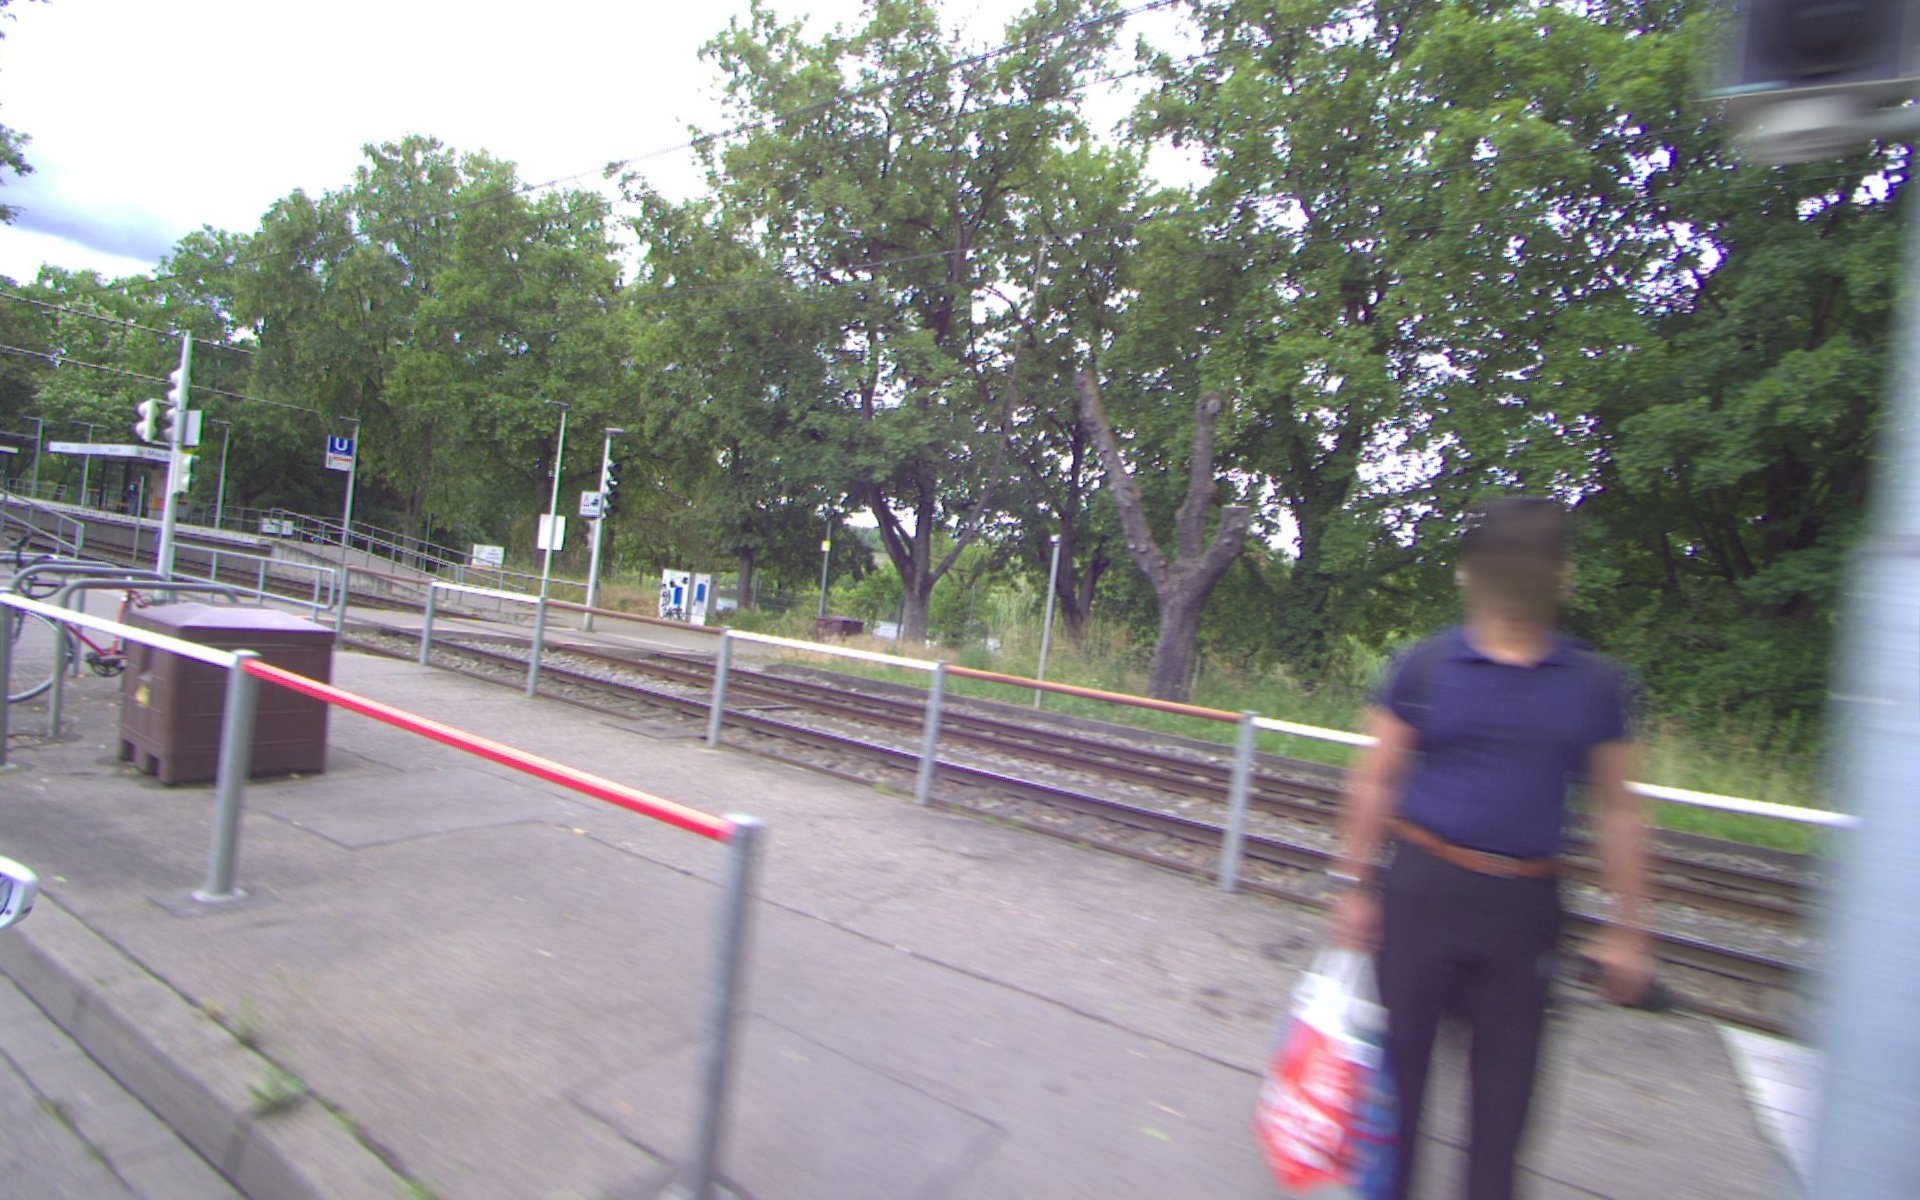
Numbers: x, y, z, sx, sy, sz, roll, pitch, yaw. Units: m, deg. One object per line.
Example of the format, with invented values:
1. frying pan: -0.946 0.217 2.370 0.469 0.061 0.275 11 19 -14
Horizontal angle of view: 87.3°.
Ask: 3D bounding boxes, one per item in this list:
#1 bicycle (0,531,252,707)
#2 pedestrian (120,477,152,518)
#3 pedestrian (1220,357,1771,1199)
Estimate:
1. bicycle: -6.063 0.124 7.039 0.592 1.104 1.674 7 2 31
2. pedestrian: -33.319 -4.139 40.667 0.713 1.528 0.718 6 -2 38
3. pedestrian: 1.231 0.440 2.321 0.827 1.760 0.750 7 3 40
